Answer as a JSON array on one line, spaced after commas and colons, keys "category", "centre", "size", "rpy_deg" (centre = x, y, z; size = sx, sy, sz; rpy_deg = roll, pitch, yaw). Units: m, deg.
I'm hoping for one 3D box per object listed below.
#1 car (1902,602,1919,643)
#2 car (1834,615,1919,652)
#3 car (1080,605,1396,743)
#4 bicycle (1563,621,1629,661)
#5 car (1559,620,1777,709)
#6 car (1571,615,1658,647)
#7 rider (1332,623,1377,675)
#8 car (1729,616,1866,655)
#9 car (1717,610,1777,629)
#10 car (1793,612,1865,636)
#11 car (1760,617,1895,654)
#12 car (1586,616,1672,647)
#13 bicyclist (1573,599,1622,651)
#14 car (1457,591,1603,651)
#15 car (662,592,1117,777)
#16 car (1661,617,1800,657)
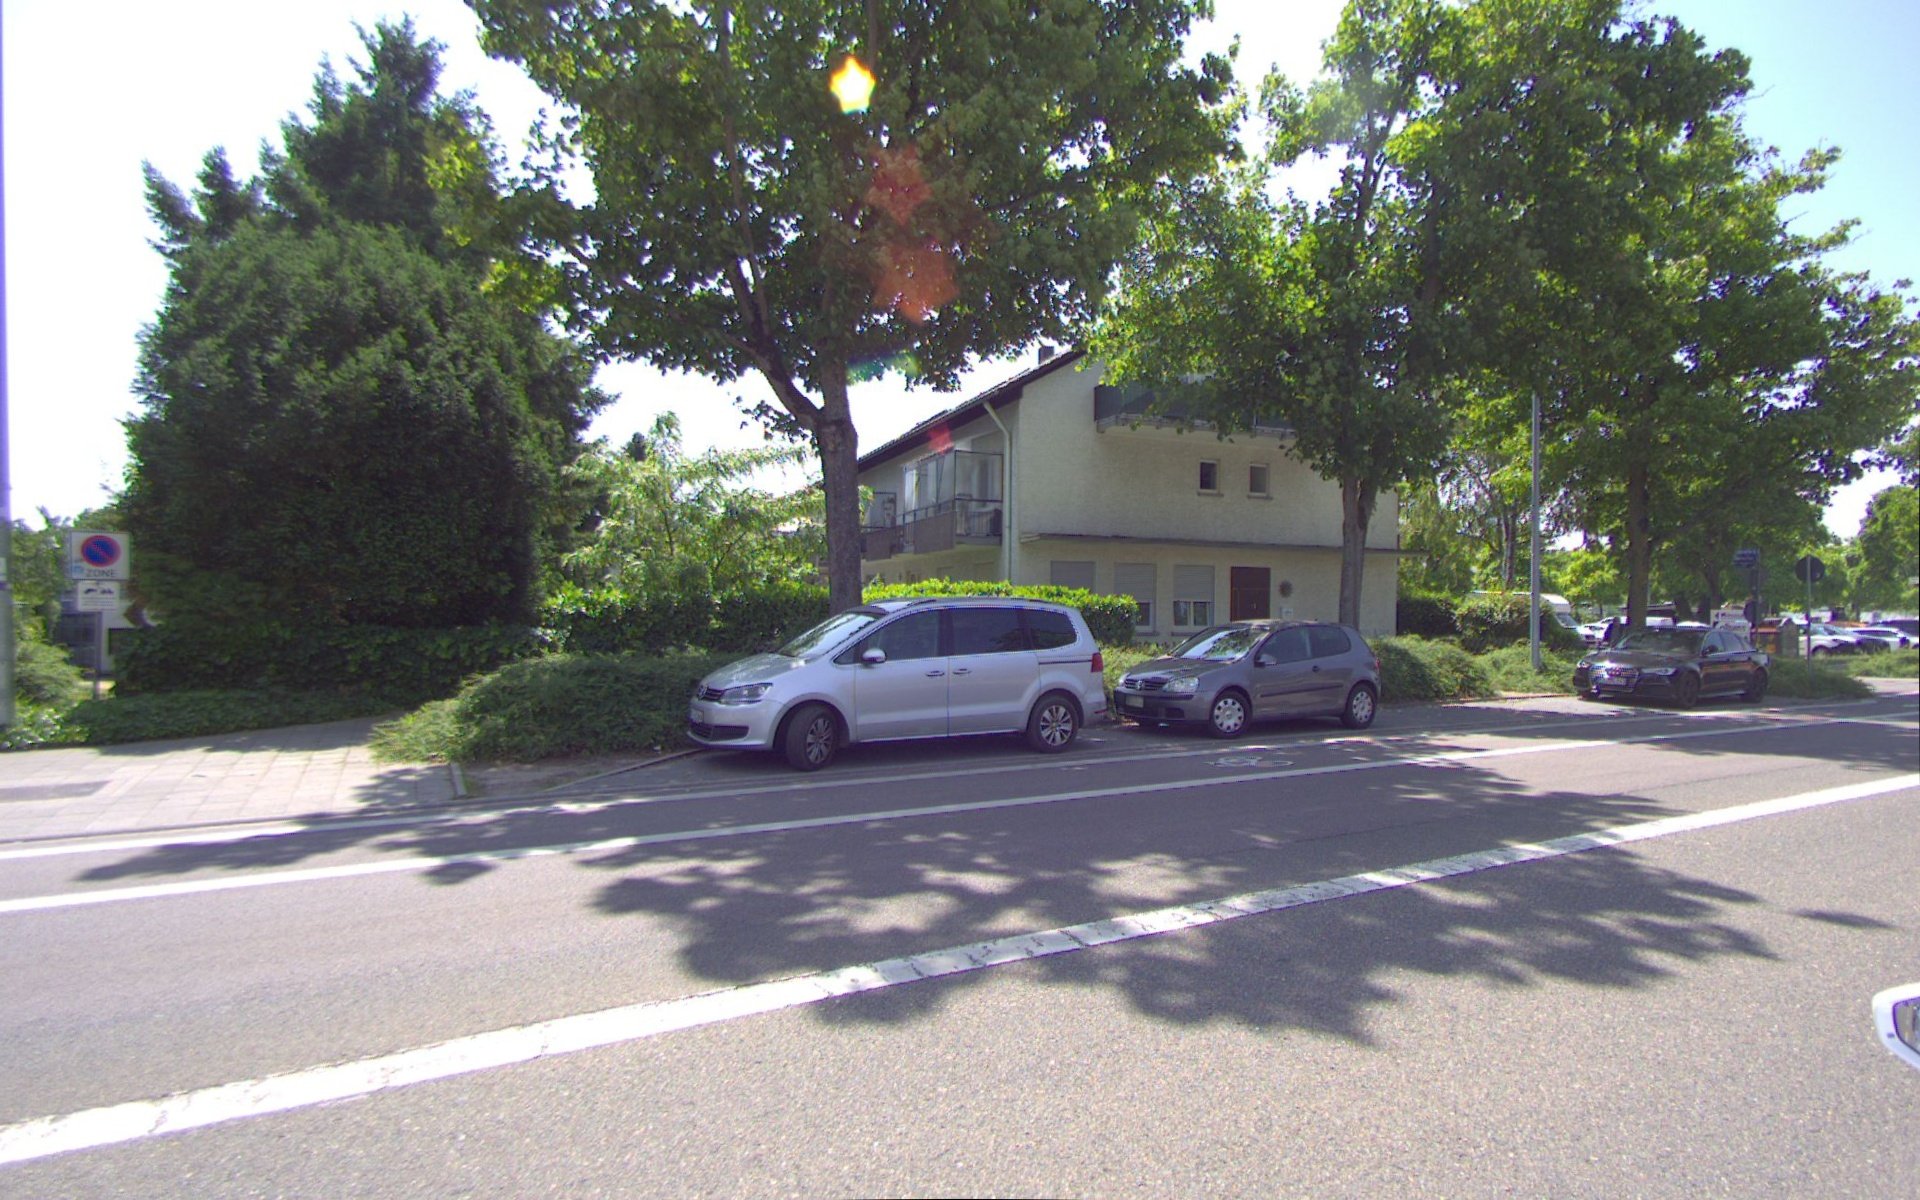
[{"category": "car", "centre": [55.529, 1.354, 55.084], "size": [2.349, 2.274, 5.076], "rpy_deg": [2, 1, -28]}, {"category": "car", "centre": [46.499, 1.635, 50.111], "size": [1.975, 1.769, 3.968], "rpy_deg": [1, -1, -30]}, {"category": "car", "centre": [3.854, 0.912, 13.775], "size": [4.132, 1.585, 1.809], "rpy_deg": [1, 1, -31]}, {"category": "bicycle", "centre": [17.733, 1.147, 28.001], "size": [1.805, 1.043, 0.698], "rpy_deg": [2, 1, -27]}, {"category": "car", "centre": [13.840, 1.176, 19.587], "size": [4.397, 1.496, 1.809], "rpy_deg": [1, 1, -31]}, {"category": "car", "centre": [38.897, 1.834, 59.757], "size": [1.799, 1.675, 3.957], "rpy_deg": [2, 1, -37]}, {"category": "rider", "centre": [10.661, 1.311, 27.155], "size": [0.800, 1.392, 0.824], "rpy_deg": [1, -1, -21]}, {"category": "car", "centre": [37.239, 1.546, 44.769], "size": [1.886, 1.606, 4.332], "rpy_deg": [1, -1, -24]}, {"category": "car", "centre": [73.869, 1.822, 94.295], "size": [1.794, 1.638, 4.003], "rpy_deg": [2, 1, -28]}, {"category": "car", "centre": [69.719, 1.924, 80.650], "size": [1.795, 1.638, 4.000], "rpy_deg": [2, 1, -30]}, {"category": "car", "centre": [39.671, 1.583, 46.060], "size": [1.885, 1.606, 4.333], "rpy_deg": [1, -1, -23]}, {"category": "car", "centre": [40.781, 1.892, 61.269], "size": [1.799, 1.675, 3.957], "rpy_deg": [2, 1, -37]}, {"category": "bicyclist", "centre": [17.748, 0.678, 27.965], "size": [0.817, 1.392, 0.806], "rpy_deg": [2, 1, -27]}, {"category": "car", "centre": [31.899, 1.094, 56.519], "size": [2.337, 3.005, 6.817], "rpy_deg": [2, 1, -30]}, {"category": "car", "centre": [-0.692, 0.784, 11.149], "size": [4.725, 1.687, 1.863], "rpy_deg": [1, 0, -31]}, {"category": "car", "centre": [32.689, 1.541, 42.746], "size": [1.891, 1.606, 4.321], "rpy_deg": [1, -1, -31]}]
